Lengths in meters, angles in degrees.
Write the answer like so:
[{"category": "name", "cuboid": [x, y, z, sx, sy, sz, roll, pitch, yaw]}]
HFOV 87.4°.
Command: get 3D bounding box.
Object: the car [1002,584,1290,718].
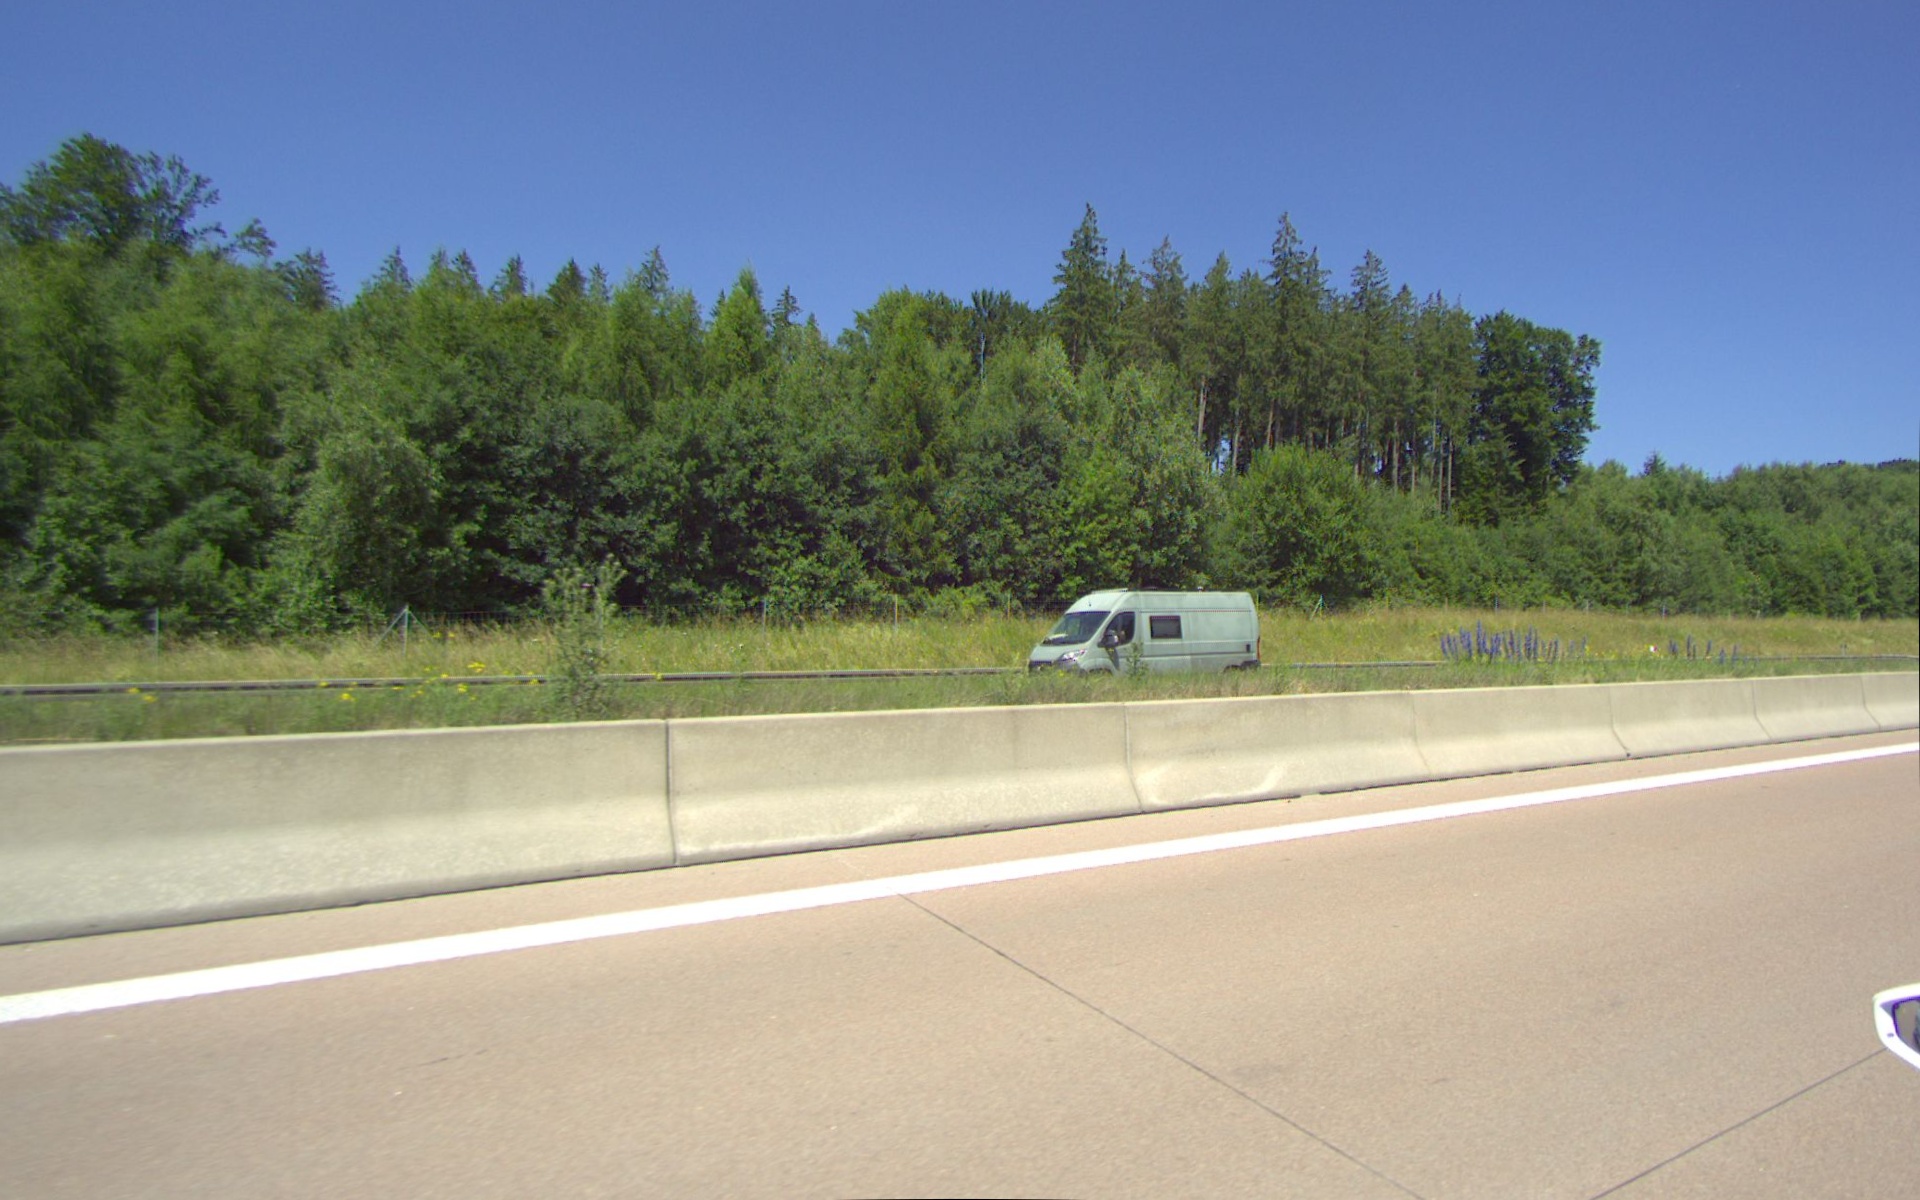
[{"category": "car", "cuboid": [4.409, 1.098, 23.207, 6.809, 2.722, 2.221, 1, -1, -31]}]
